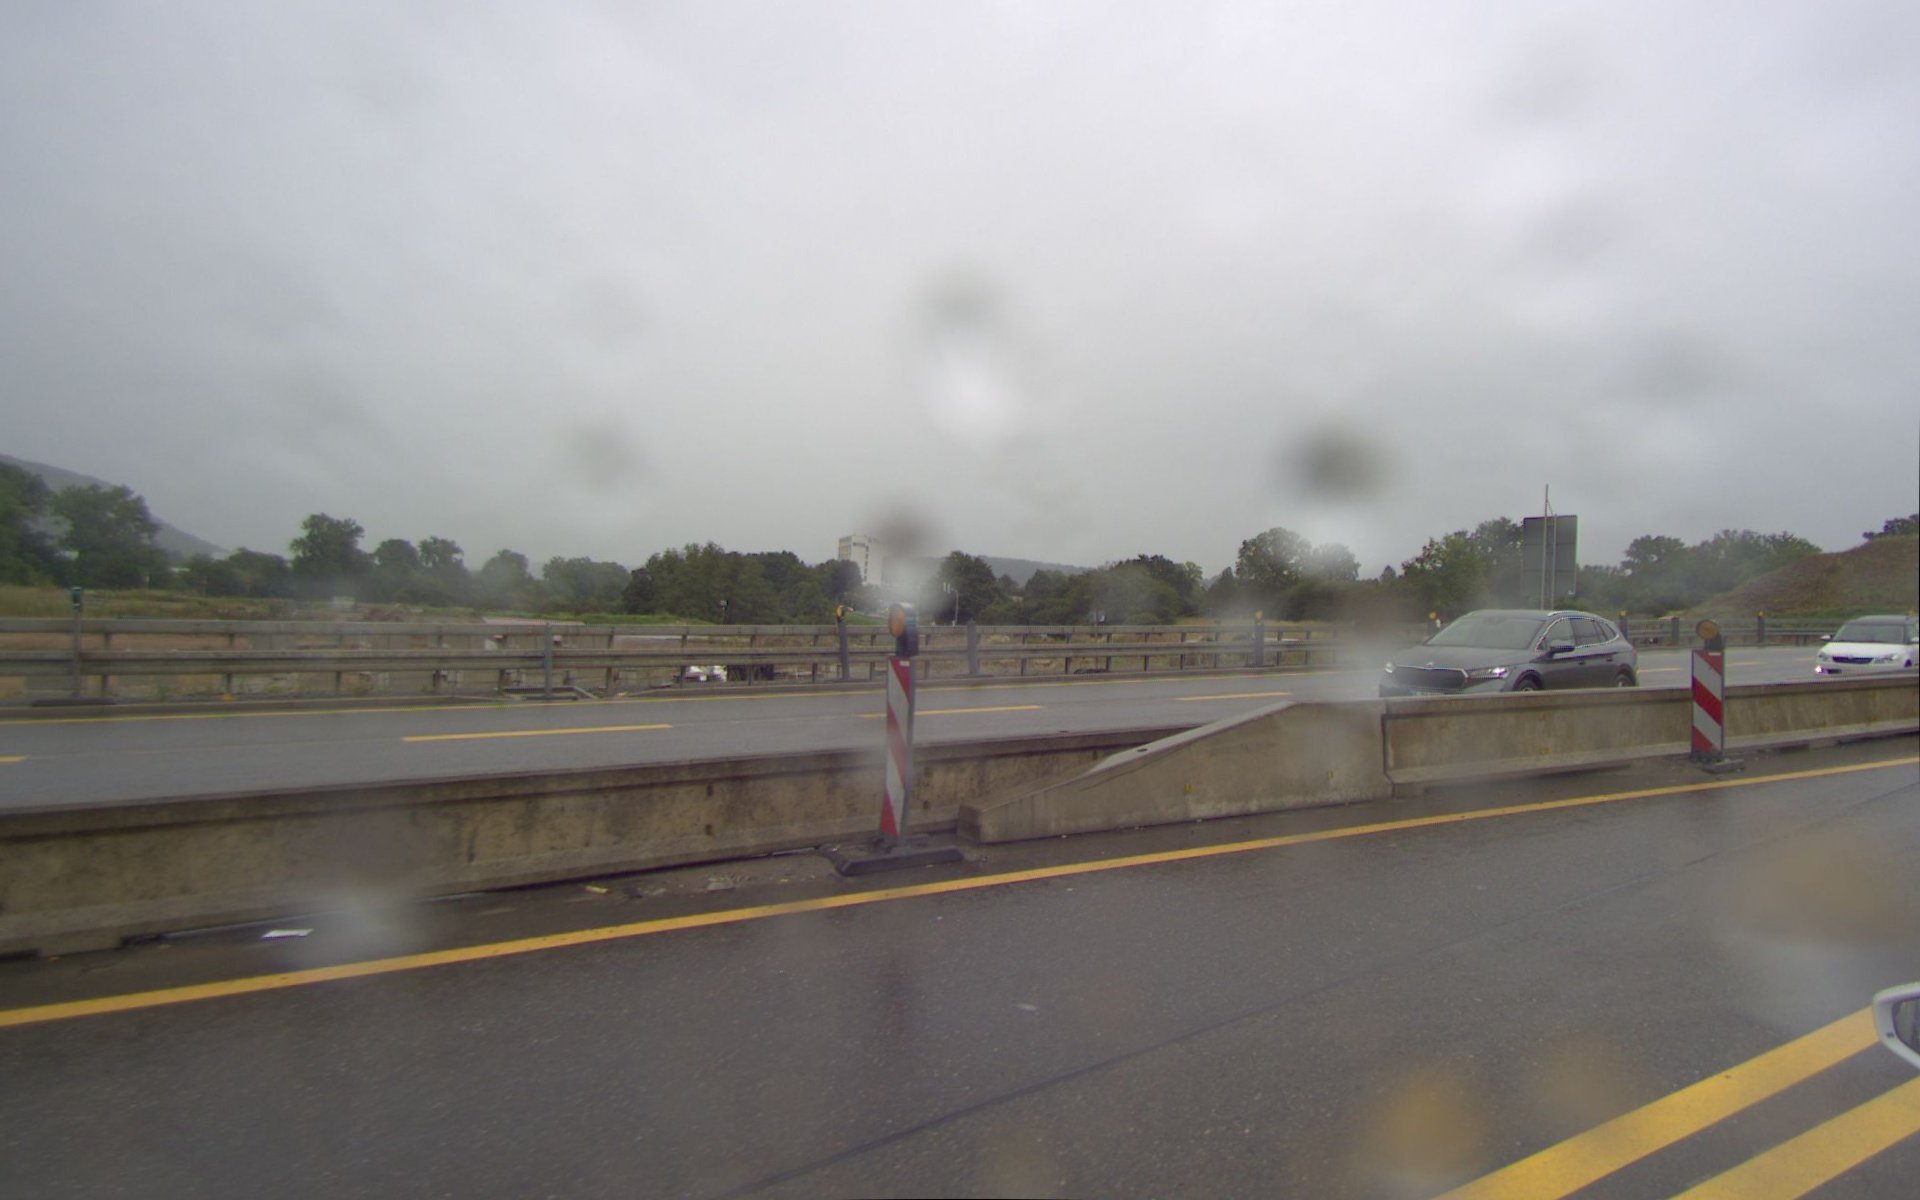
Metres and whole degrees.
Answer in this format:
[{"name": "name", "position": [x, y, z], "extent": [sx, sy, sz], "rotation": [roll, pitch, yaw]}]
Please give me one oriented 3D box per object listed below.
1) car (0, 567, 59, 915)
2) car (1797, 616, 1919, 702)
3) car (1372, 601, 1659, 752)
[{"name": "car", "position": [-7.162, 0.599, 3.691], "extent": [5.496, 1.707, 1.726], "rotation": [2, 0, -35]}, {"name": "car", "position": [21.983, 1.455, 24.116], "extent": [4.456, 1.833, 1.774], "rotation": [5, -3, -35]}, {"name": "car", "position": [7.991, 1.102, 14.299], "extent": [4.456, 1.833, 1.774], "rotation": [5, -3, -35]}]
